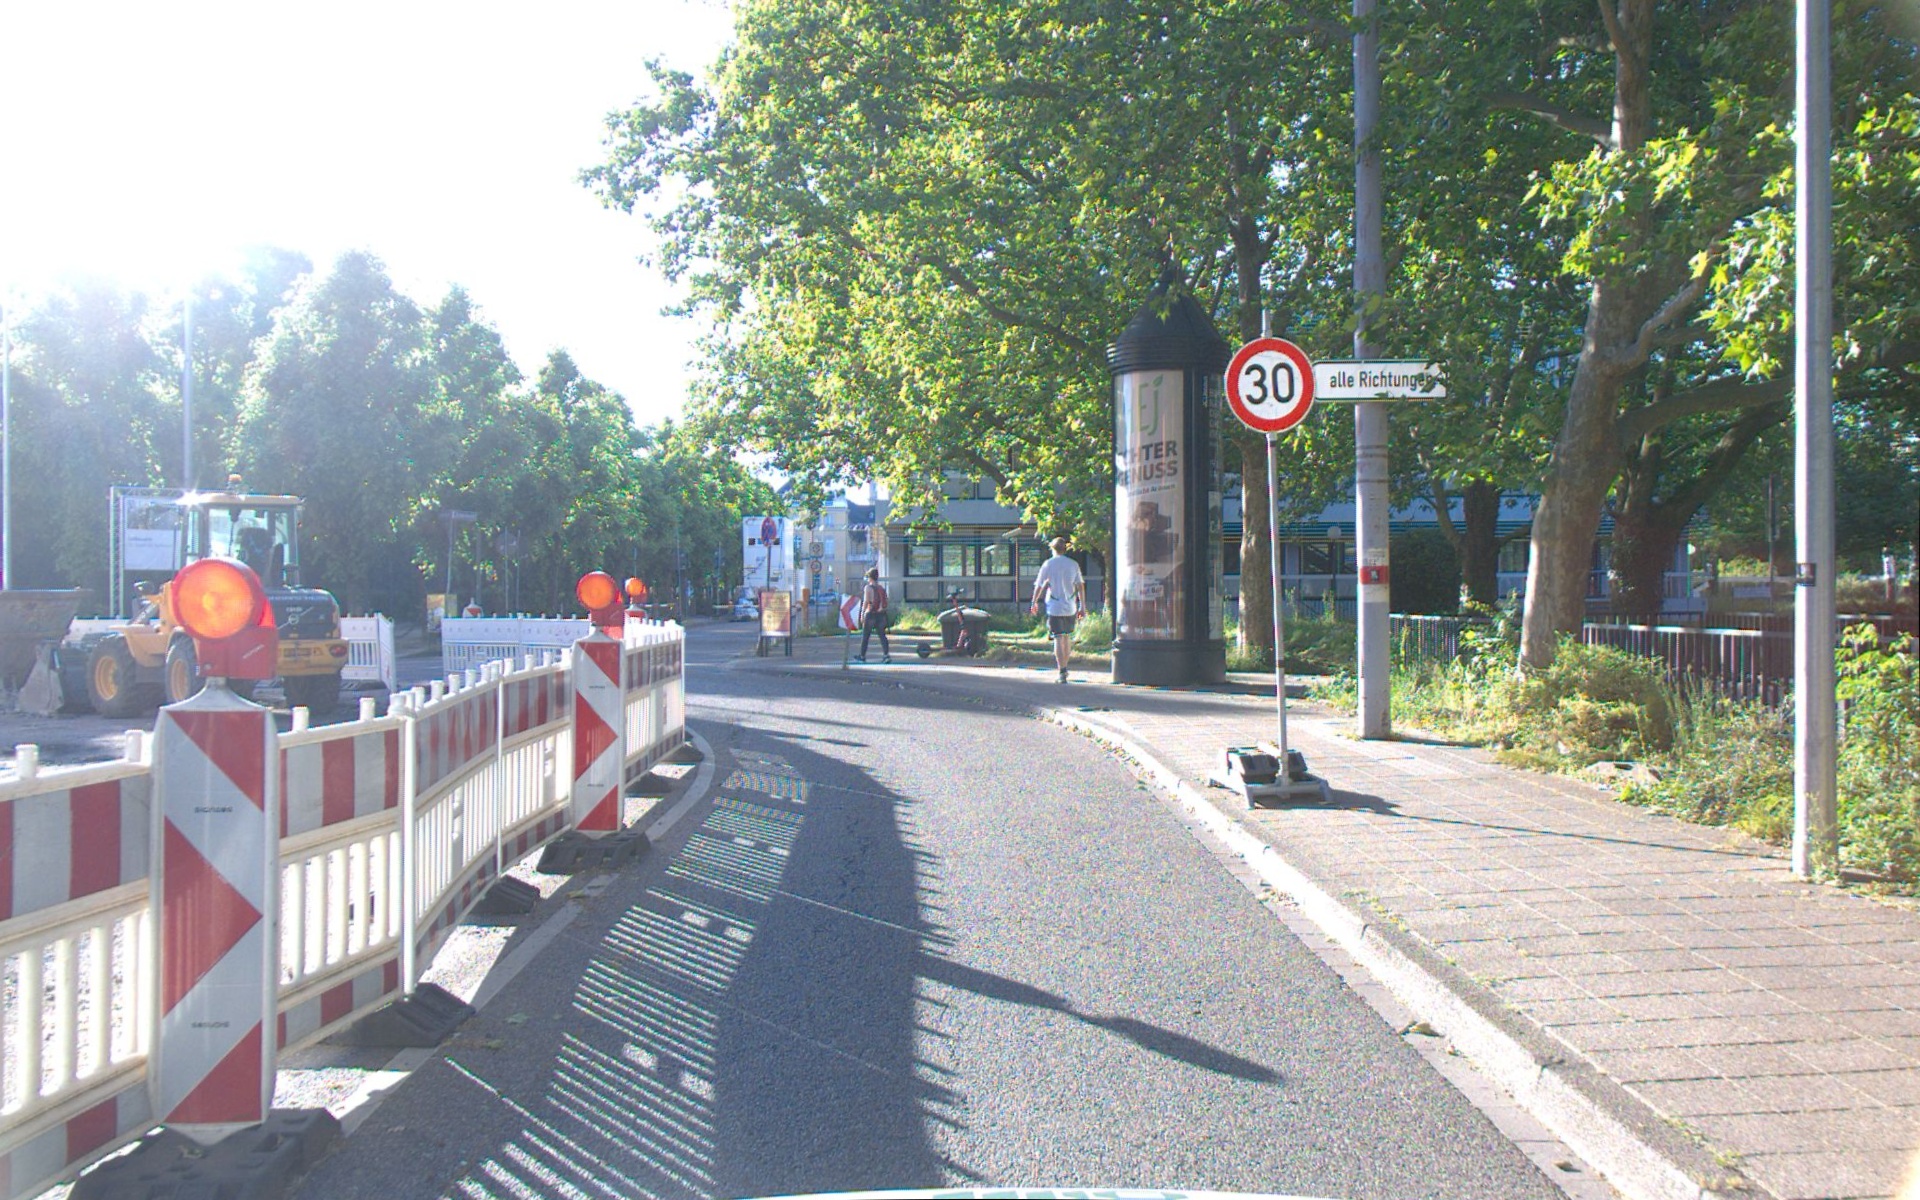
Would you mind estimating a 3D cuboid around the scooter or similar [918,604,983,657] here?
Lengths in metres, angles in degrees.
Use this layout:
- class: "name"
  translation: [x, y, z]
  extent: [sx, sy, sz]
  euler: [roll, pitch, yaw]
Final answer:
- class: "scooter or similar"
  translation: [-0.180, 0.555, 30.397]
  extent: [1.126, 0.930, 0.418]
  euler: [-2, -1, -9]

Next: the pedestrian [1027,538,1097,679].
- class: "pedestrian"
  translation: [1.374, 0.112, 22.436]
  extent: [0.730, 1.844, 1.132]
  euler: [1, 0, -7]

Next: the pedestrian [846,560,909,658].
- class: "pedestrian"
  translation: [-1.411, 0.154, 28.260]
  extent: [0.702, 1.652, 0.928]
  euler: [0, -1, -33]

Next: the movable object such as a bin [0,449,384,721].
- class: "movable object such as a bin"
  translation: [-10.219, -0.163, 21.702]
  extent: [5.827, 3.084, 2.551]
  euler: [-1, 0, 43]

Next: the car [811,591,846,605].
- class: "car"
  translation: [-17.240, -0.248, 216.615]
  extent: [4.466, 1.822, 1.999]
  euler: [0, 0, -3]
